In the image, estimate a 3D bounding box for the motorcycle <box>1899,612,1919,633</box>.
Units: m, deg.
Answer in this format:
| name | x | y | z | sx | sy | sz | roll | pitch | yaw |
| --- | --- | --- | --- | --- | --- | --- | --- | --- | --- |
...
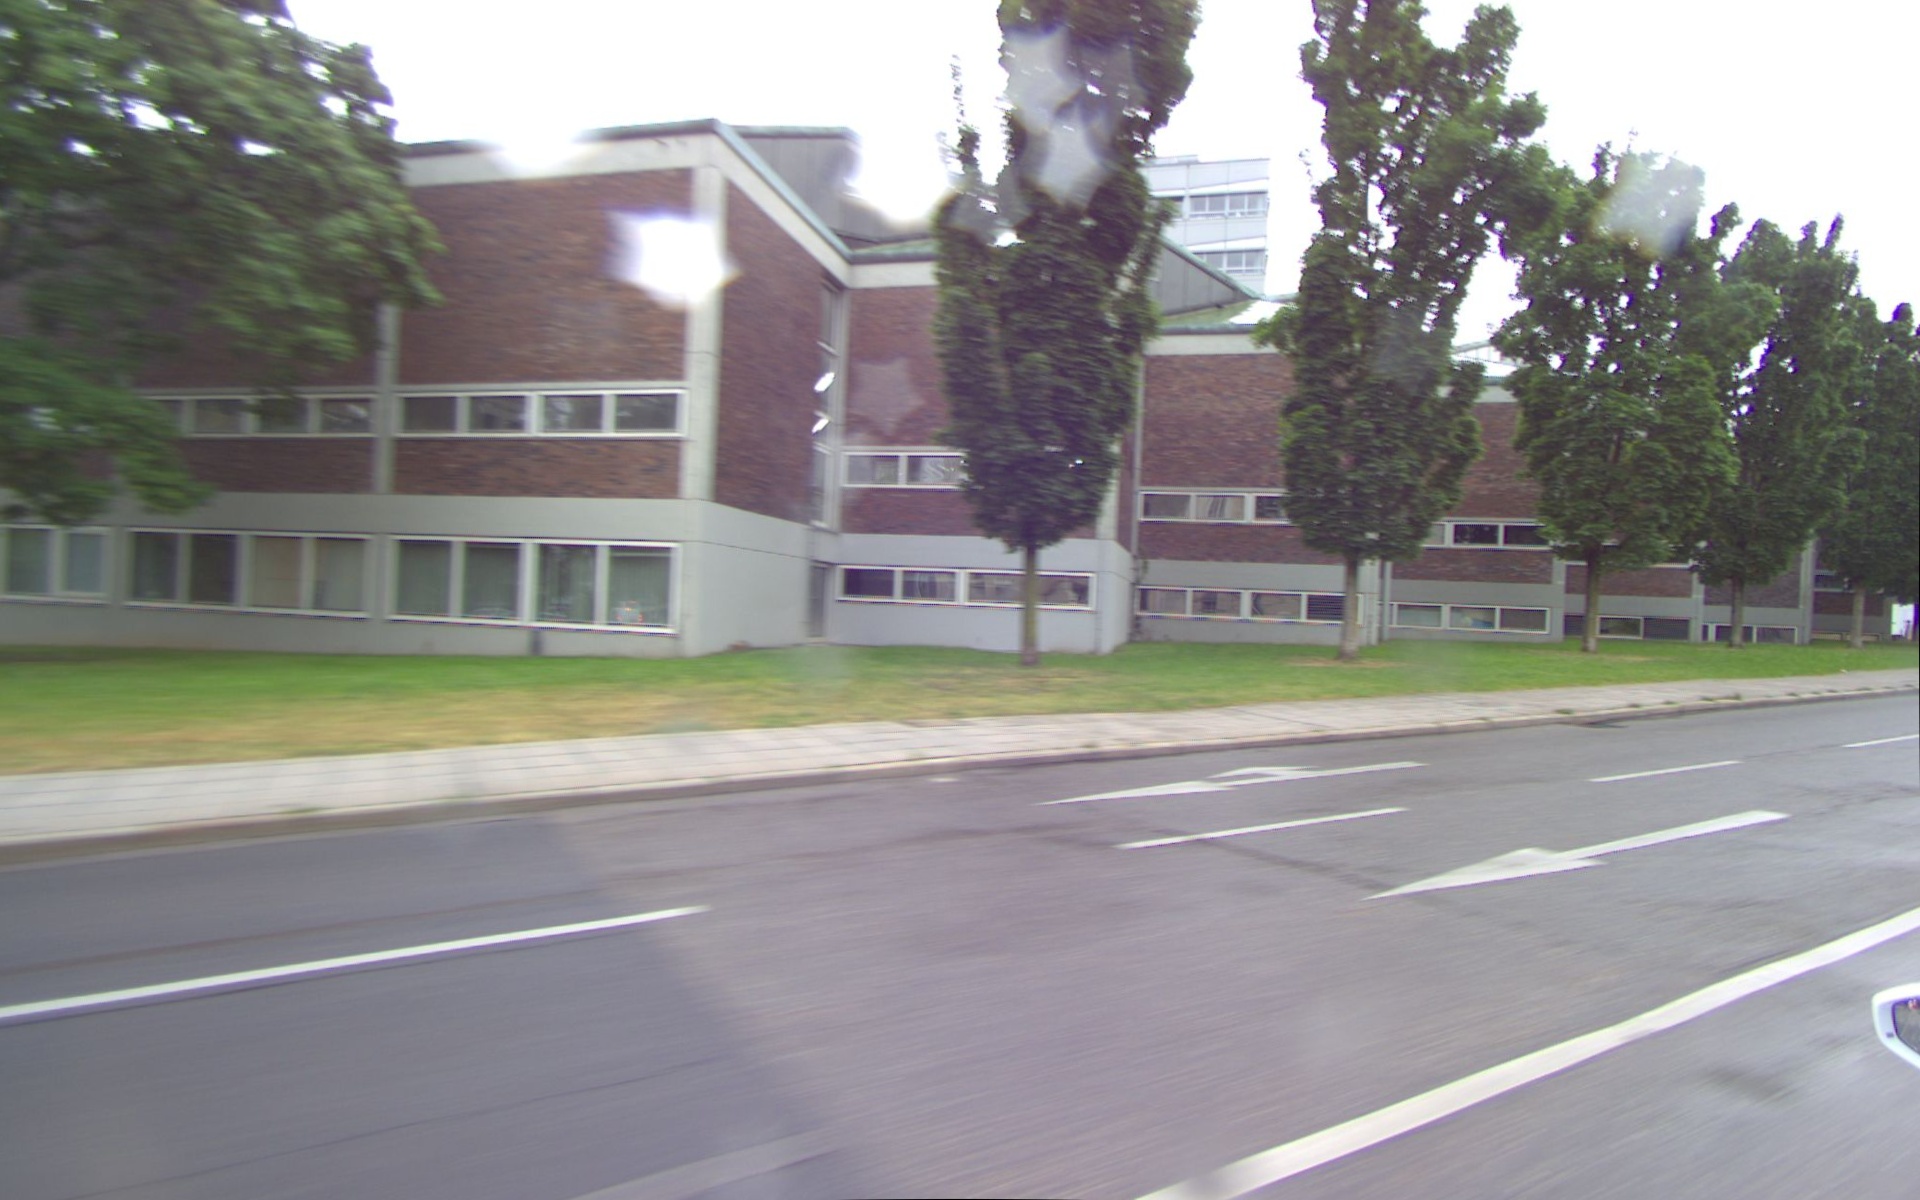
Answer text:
| name | x | y | z | sx | sy | sz | roll | pitch | yaw |
| --- | --- | --- | --- | --- | --- | --- | --- | --- | --- |
| motorcycle | 54.586 | 1.284 | 57.599 | 0.404 | 1.201 | 1.228 | 2 | 1 | 7 |
